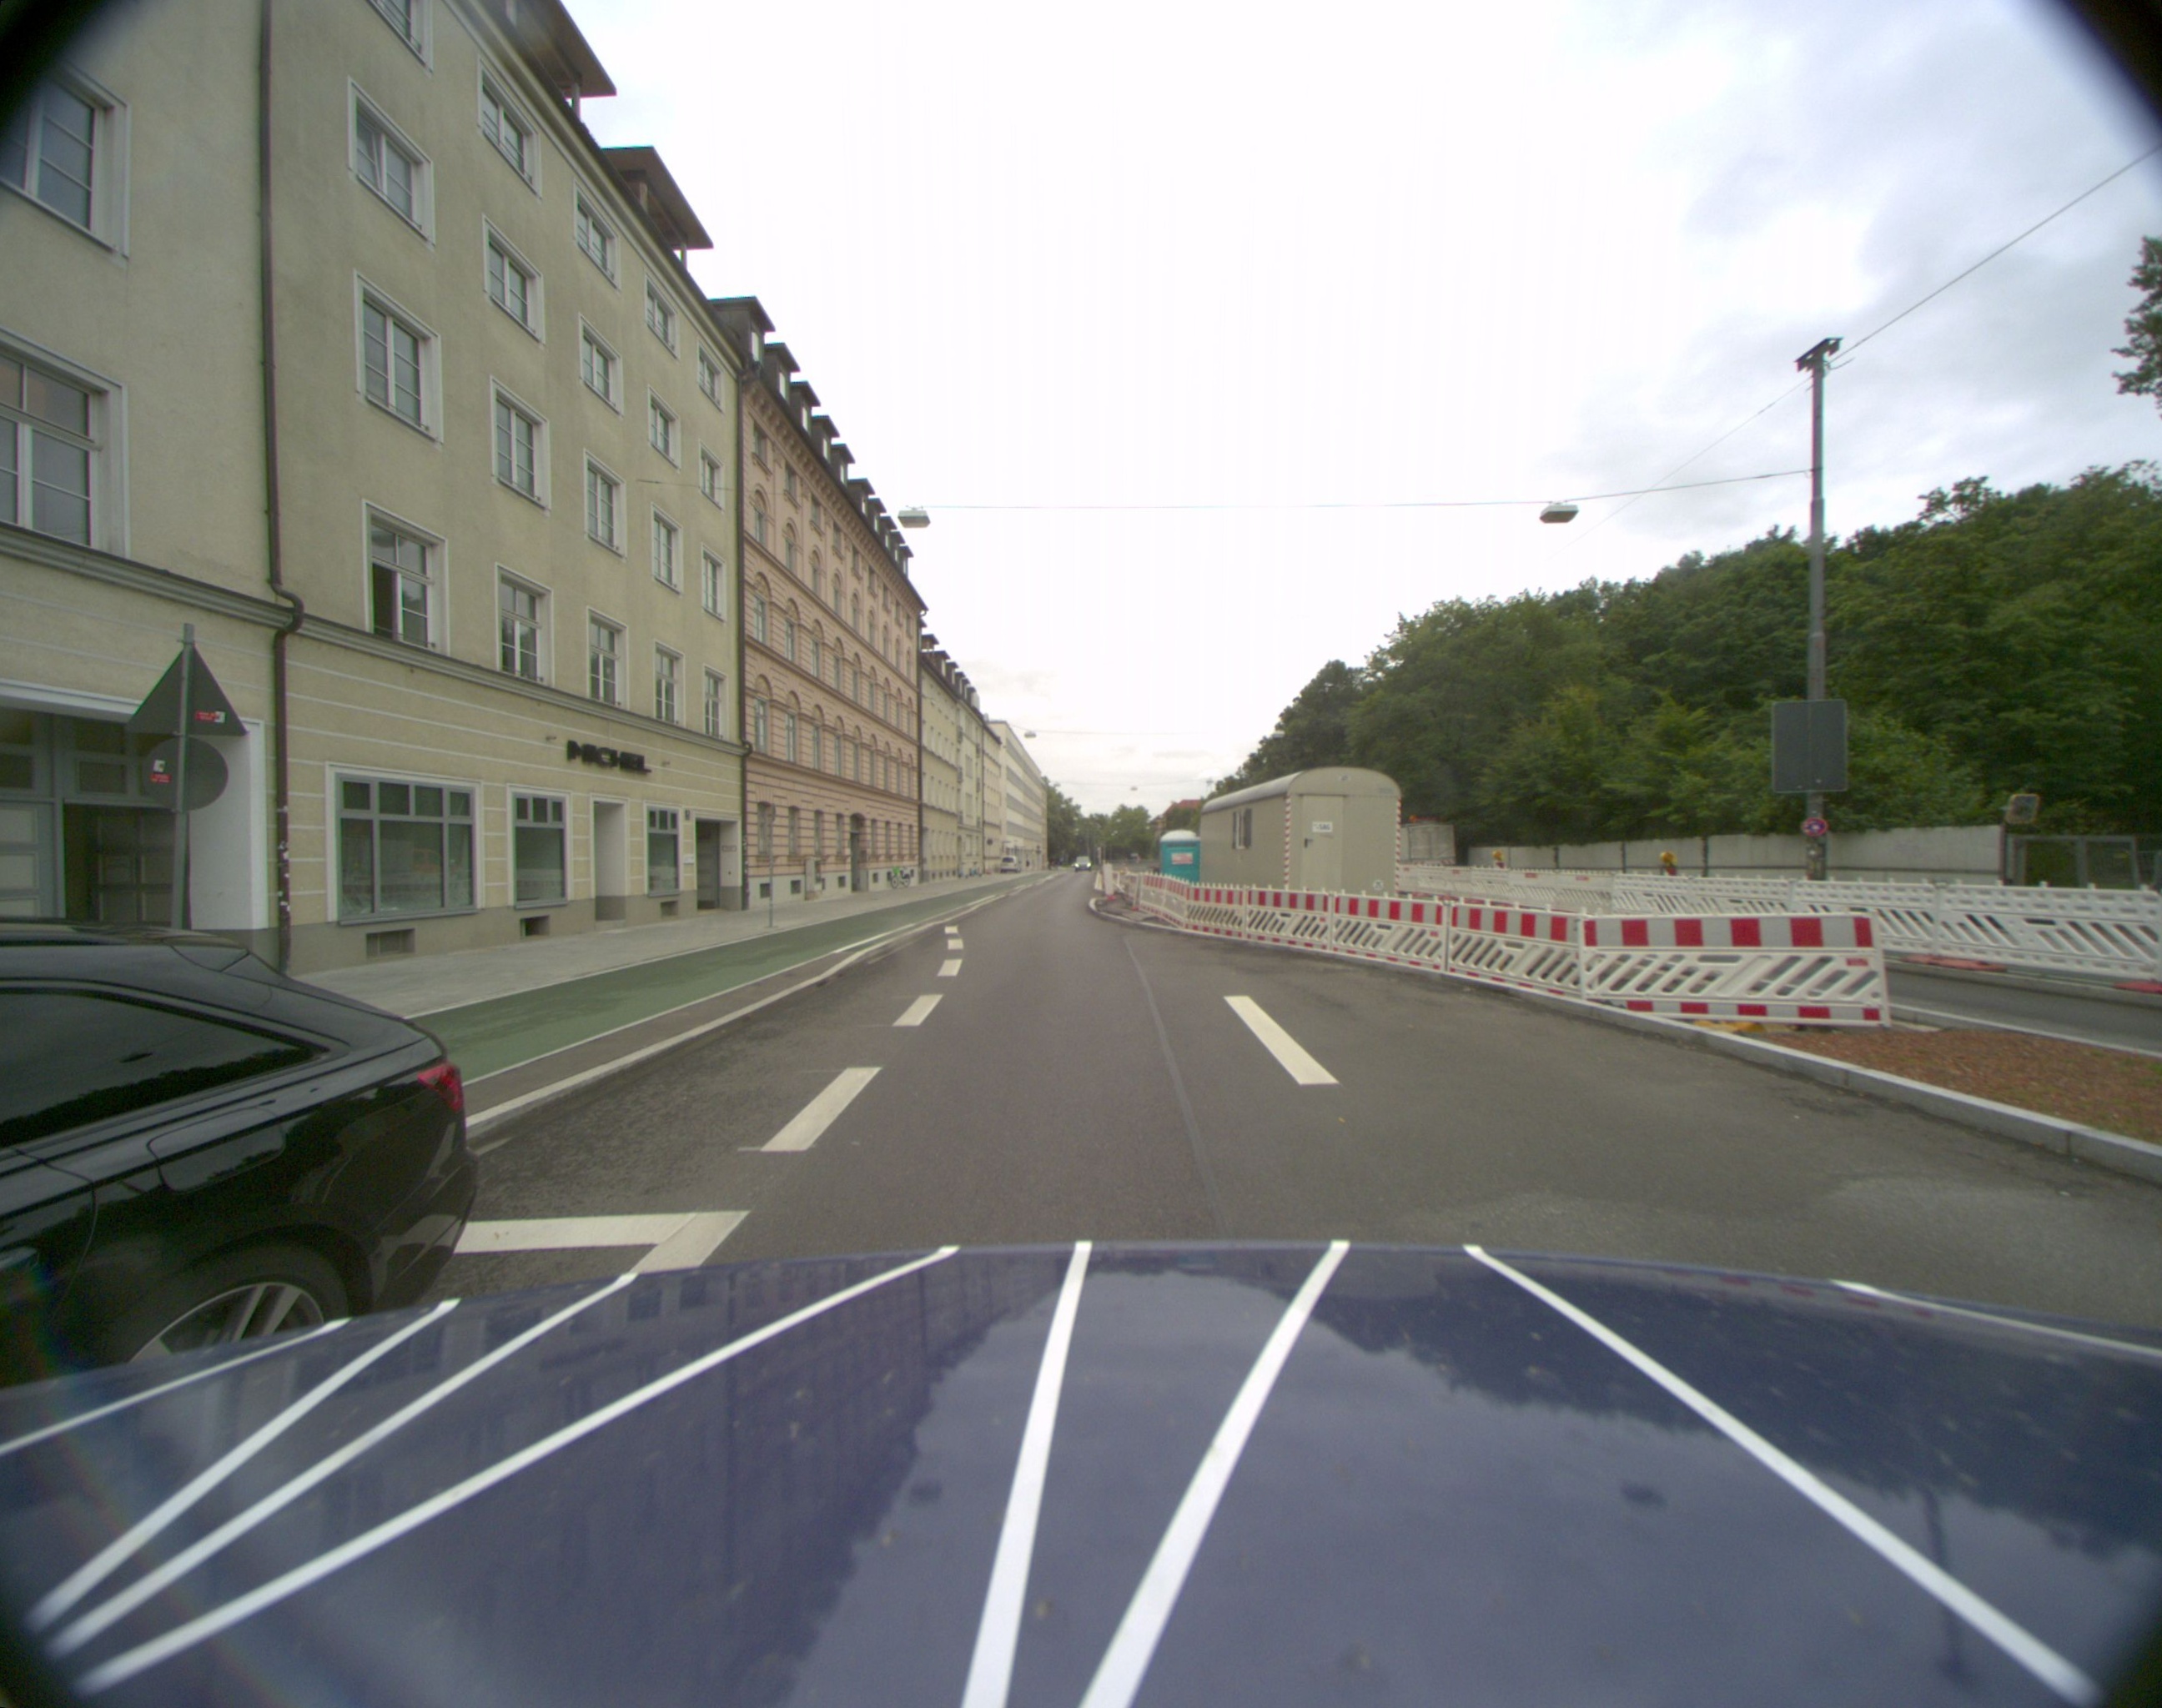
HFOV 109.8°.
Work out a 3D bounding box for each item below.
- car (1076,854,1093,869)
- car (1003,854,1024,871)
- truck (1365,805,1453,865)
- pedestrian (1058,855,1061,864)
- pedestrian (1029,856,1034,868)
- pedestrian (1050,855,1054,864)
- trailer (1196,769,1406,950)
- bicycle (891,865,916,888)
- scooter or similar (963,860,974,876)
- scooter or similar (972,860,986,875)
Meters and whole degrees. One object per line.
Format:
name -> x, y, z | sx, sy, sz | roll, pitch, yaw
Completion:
car -> 0.422, 0.895, 91.572 | 1.998, 1.738, 4.000 | -1, 0, 0
car -> -7.182, 0.885, 81.185 | 1.737, 1.739, 4.436 | 0, 0, 2
truck -> 16.197, -0.861, 37.887 | 1.998, 2.712, 5.871 | -1, 0, 2
pedestrian -> -4.292, 1.025, 149.569 | 0.514, 1.825, 0.602 | -1, 1, 2
pedestrian -> -6.809, 1.044, 104.533 | 0.666, 1.626, 0.737 | 0, 0, 1
pedestrian -> -5.710, 1.085, 151.239 | 0.754, 1.610, 0.704 | -1, 1, 2
trailer -> 4.512, 0.095, 17.354 | 2.233, 3.224, 7.516 | -1, 0, -3
bicycle -> -9.342, 1.154, 40.024 | 0.426, 1.167, 1.734 | 0, 0, 19
scooter or similar -> -8.695, 1.059, 58.809 | 0.246, 1.224, 1.122 | 2, 1, 27
scooter or similar -> -8.525, 1.096, 63.511 | 1.121, 1.224, 0.246 | 1, 1, -32
